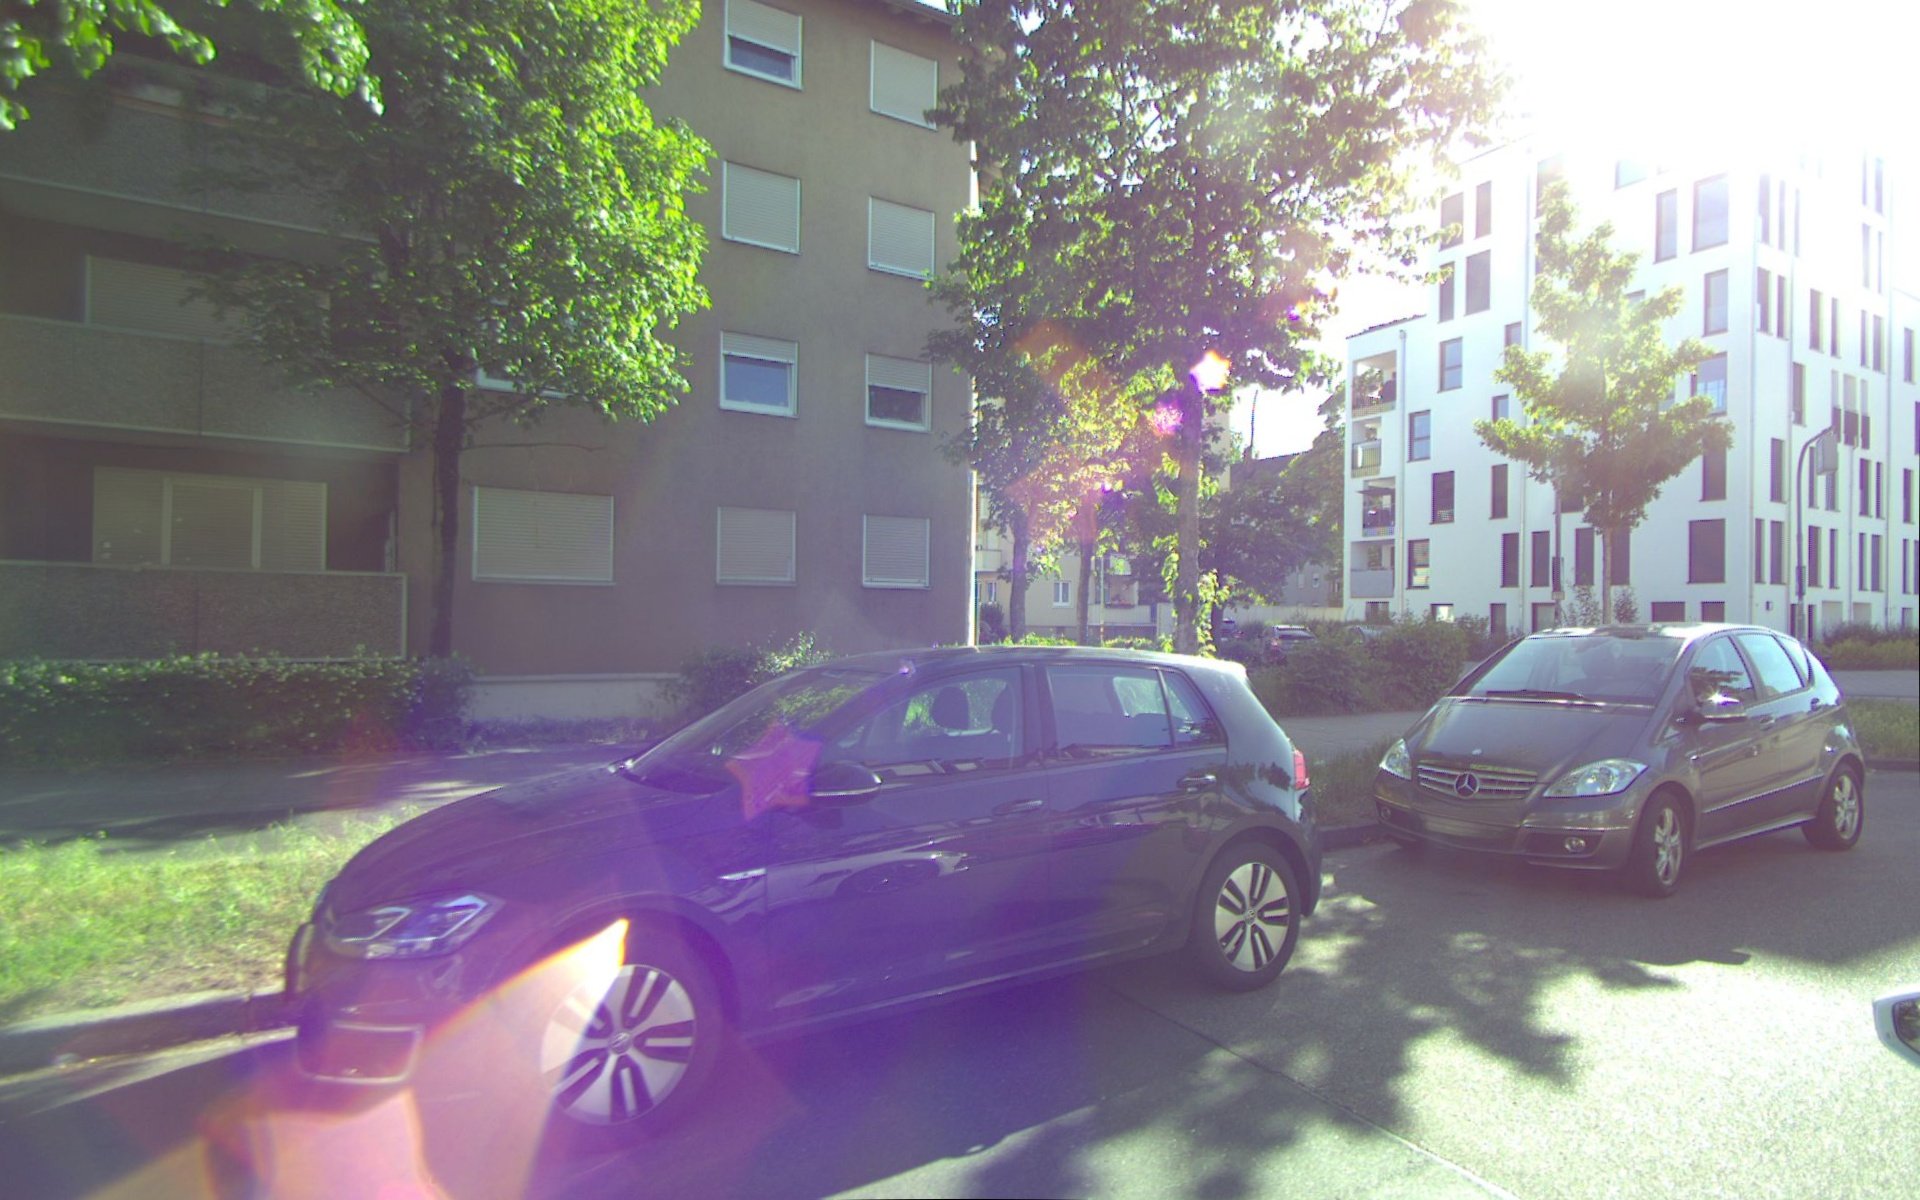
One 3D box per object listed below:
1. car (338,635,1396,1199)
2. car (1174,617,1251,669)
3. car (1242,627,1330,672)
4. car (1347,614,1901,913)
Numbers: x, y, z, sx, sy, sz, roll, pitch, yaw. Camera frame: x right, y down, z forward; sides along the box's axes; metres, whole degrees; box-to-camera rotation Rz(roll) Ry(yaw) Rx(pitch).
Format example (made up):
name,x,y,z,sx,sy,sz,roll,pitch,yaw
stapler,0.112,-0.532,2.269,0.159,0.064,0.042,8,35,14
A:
name,x,y,z,sx,sy,sz,roll,pitch,yaw
car,-0.191,0.924,4.216,4.045,1.413,1.651,2,1,-31
car,9.040,1.509,36.297,1.960,1.673,4.001,0,0,3
car,11.272,1.666,35.067,1.960,1.450,4.567,0,-1,6
car,4.799,0.953,7.140,4.061,1.583,1.712,2,-2,-31
